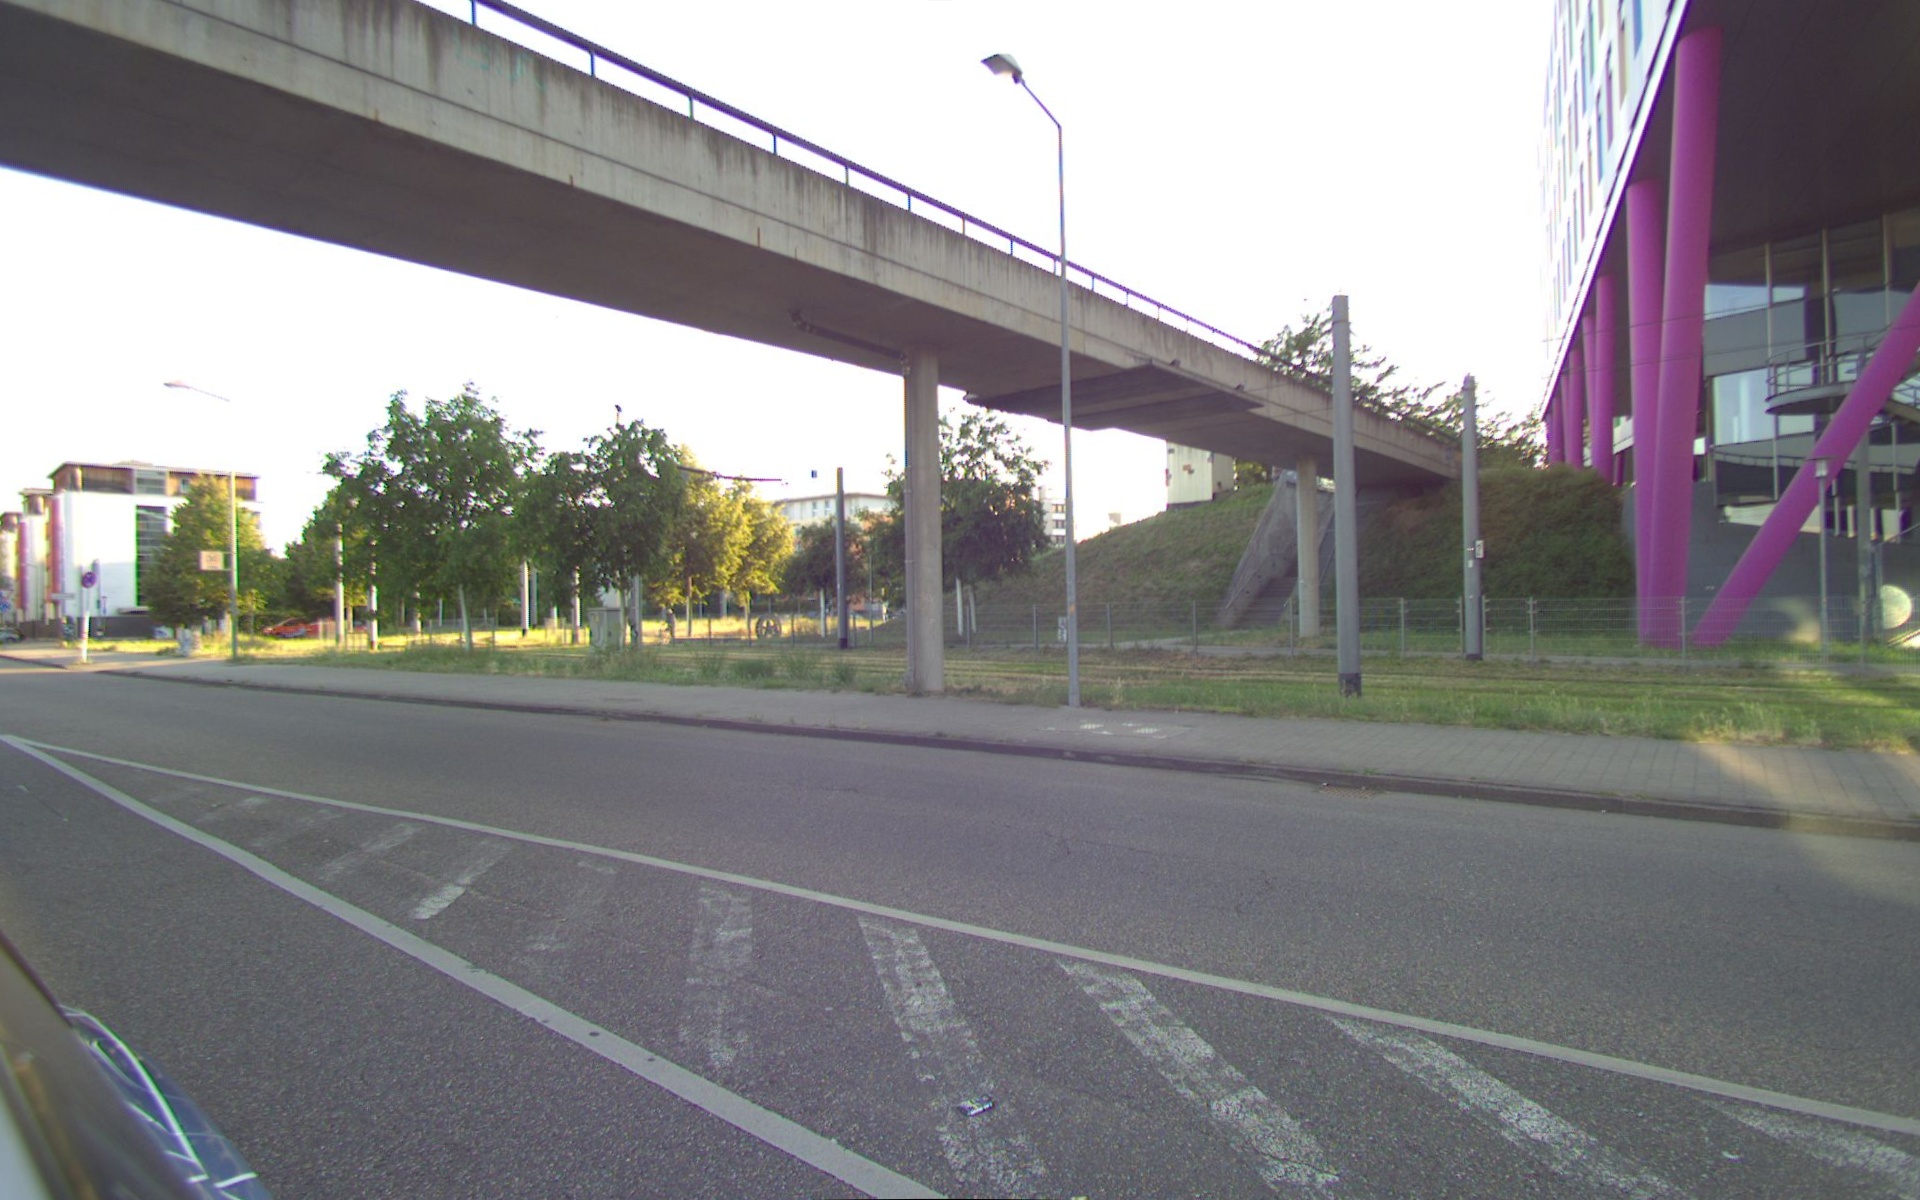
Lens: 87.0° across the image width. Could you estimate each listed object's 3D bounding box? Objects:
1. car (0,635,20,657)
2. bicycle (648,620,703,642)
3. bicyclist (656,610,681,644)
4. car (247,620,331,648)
[{"bbox_3d":[-80.571,3.864,83.709,2.000,1.741,3.944,-2,-1,42],"label":"car"},{"bbox_3d":[-14.032,1.504,50.011,0.654,1.016,2.808,-2,-1,36],"label":"bicycle"},{"bbox_3d":[-14.287,1.327,49.661,0.716,1.644,0.899,-2,-1,35],"label":"bicyclist"},{"bbox_3d":[-53.658,2.715,80.976,5.439,2.029,2.003,-1,-1,-40],"label":"car"}]
